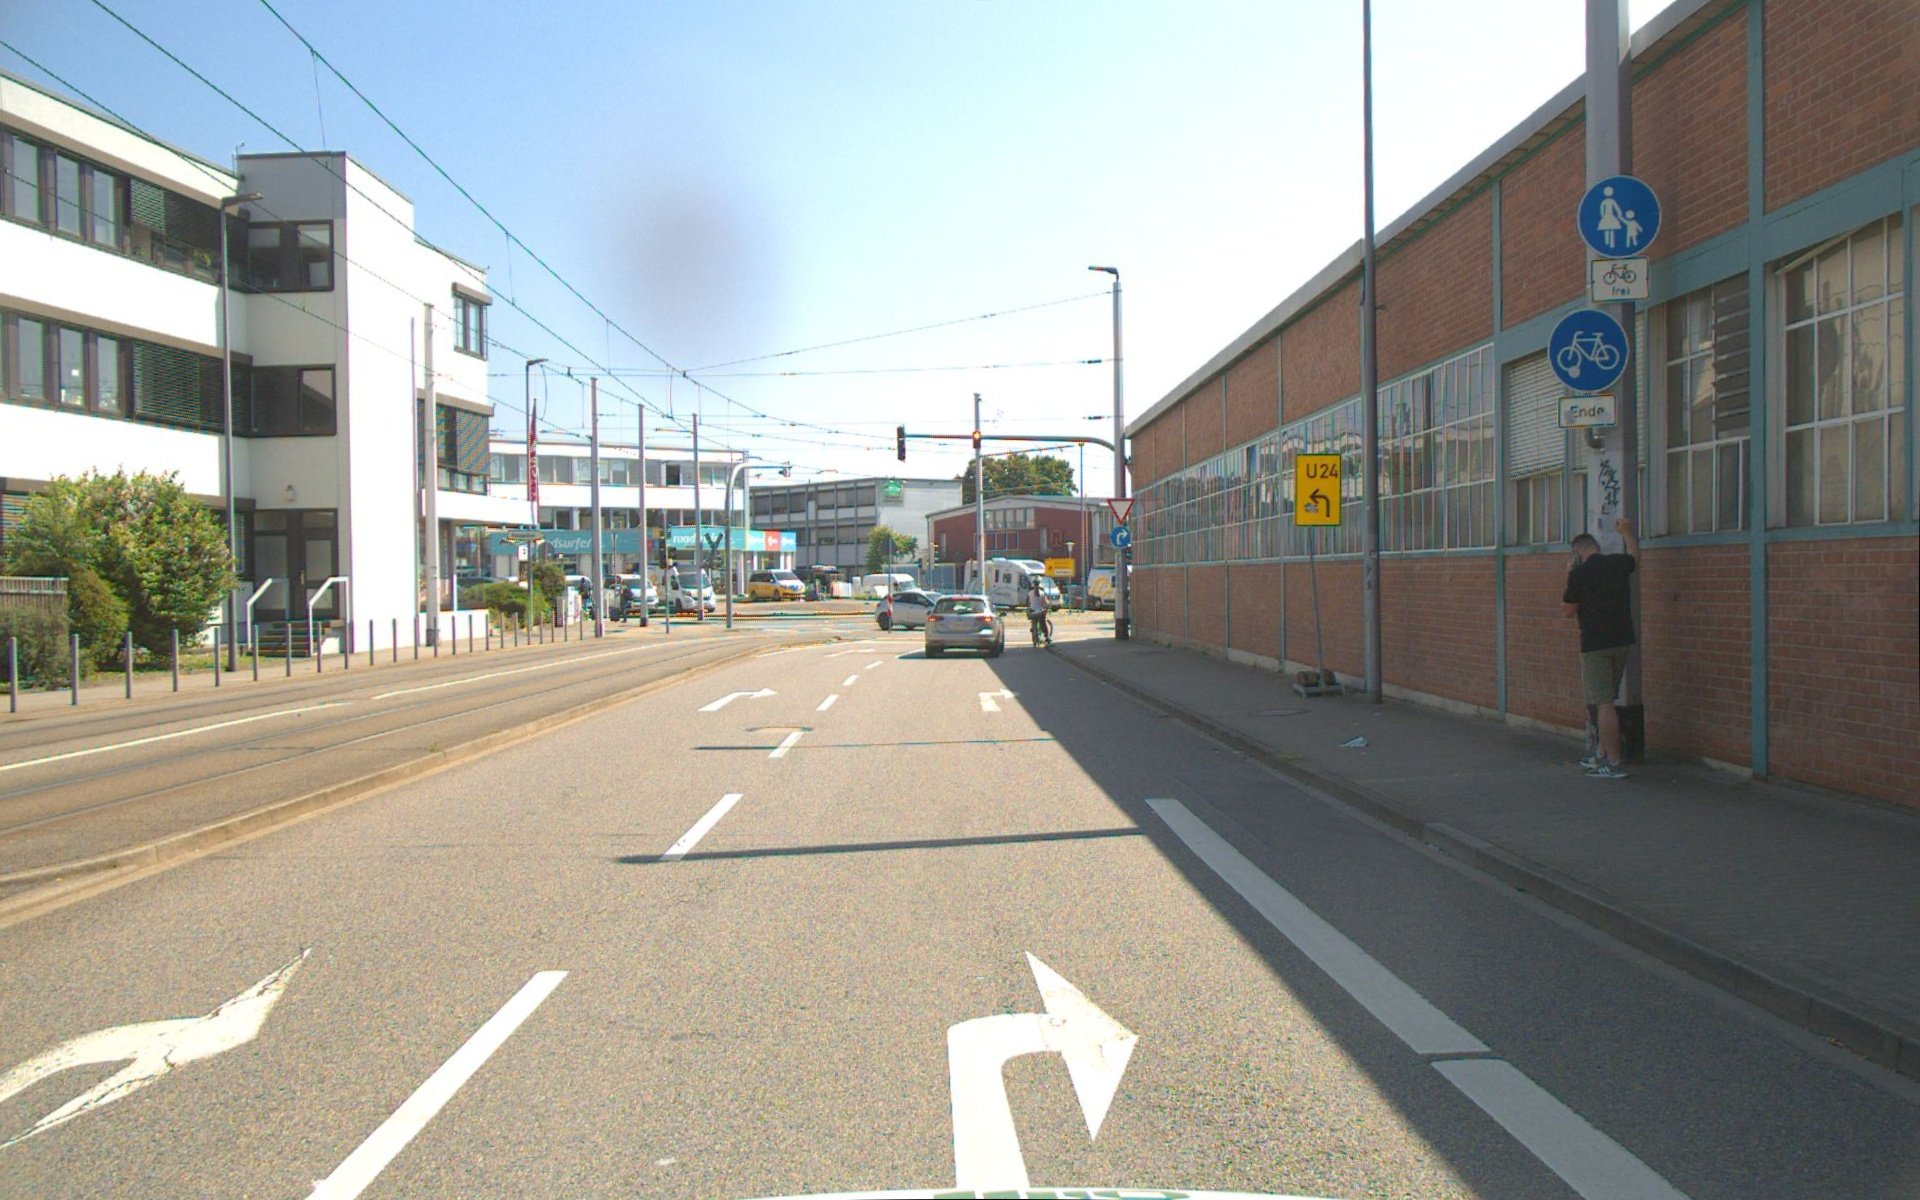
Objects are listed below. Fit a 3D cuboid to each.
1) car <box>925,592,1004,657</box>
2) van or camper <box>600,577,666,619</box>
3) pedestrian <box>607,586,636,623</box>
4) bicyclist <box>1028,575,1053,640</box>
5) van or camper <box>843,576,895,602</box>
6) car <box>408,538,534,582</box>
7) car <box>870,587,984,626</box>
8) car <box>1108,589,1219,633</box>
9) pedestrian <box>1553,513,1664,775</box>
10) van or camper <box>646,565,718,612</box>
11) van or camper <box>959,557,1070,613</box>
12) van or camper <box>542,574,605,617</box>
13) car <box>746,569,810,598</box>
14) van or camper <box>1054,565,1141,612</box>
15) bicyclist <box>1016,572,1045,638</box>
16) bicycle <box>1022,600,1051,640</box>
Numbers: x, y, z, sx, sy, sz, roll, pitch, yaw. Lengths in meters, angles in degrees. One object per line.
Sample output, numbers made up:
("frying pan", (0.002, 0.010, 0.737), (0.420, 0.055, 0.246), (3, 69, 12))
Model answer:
("car", (0.160, 0.563, 40.704), (1.709, 1.484, 4.002), (-1, 0, 3))
("van or camper", (-17.547, -0.137, 88.568), (1.973, 2.048, 4.960), (-2, 3, -30))
("pedestrian", (-13.815, 0.181, 67.506), (1.109, 1.480, 0.836), (-1, 0, -10))
("bicyclist", (2.314, 0.216, 47.562), (0.693, 1.842, 0.983), (0, 0, 2))
("van or camper", (-7.161, -0.856, 130.447), (3.931, 1.982, 1.987), (0, 0, 44))
("car", (-17.681, -1.458, 59.879), (3.904, 1.545, 2.001), (0, 3, 2))
("car", (-1.275, 0.257, 62.939), (4.121, 1.399, 1.796), (-1, 0, 36))
("car", (7.518, 0.397, 61.458), (3.904, 1.534, 1.880), (-1, 0, 1))
("pedestrian", (4.545, 0.293, 11.616), (0.669, 1.795, 0.449), (0, 2, 16))
("van or camper", (-15.189, -0.656, 90.126), (2.010, 2.336, 5.754), (-2, 3, -30))
("van or camper", (3.079, -0.910, 95.752), (2.334, 2.981, 6.879), (-3, 4, -42))
("van or camper", (-20.651, -0.278, 88.198), (1.973, 2.048, 4.715), (-2, 3, -30))
("car", (-11.497, -1.021, 103.980), (1.921, 1.790, 5.062), (-1, 0, -33))
("van or camper", (8.186, -0.728, 99.002), (2.265, 2.482, 5.318), (-2, 5, -36))
("bicyclist", (1.917, 0.132, 45.132), (0.769, 1.752, 1.147), (0, 0, 3))
("bicycle", (2.109, 0.539, 45.353), (0.777, 1.039, 2.152), (0, 0, 3))
